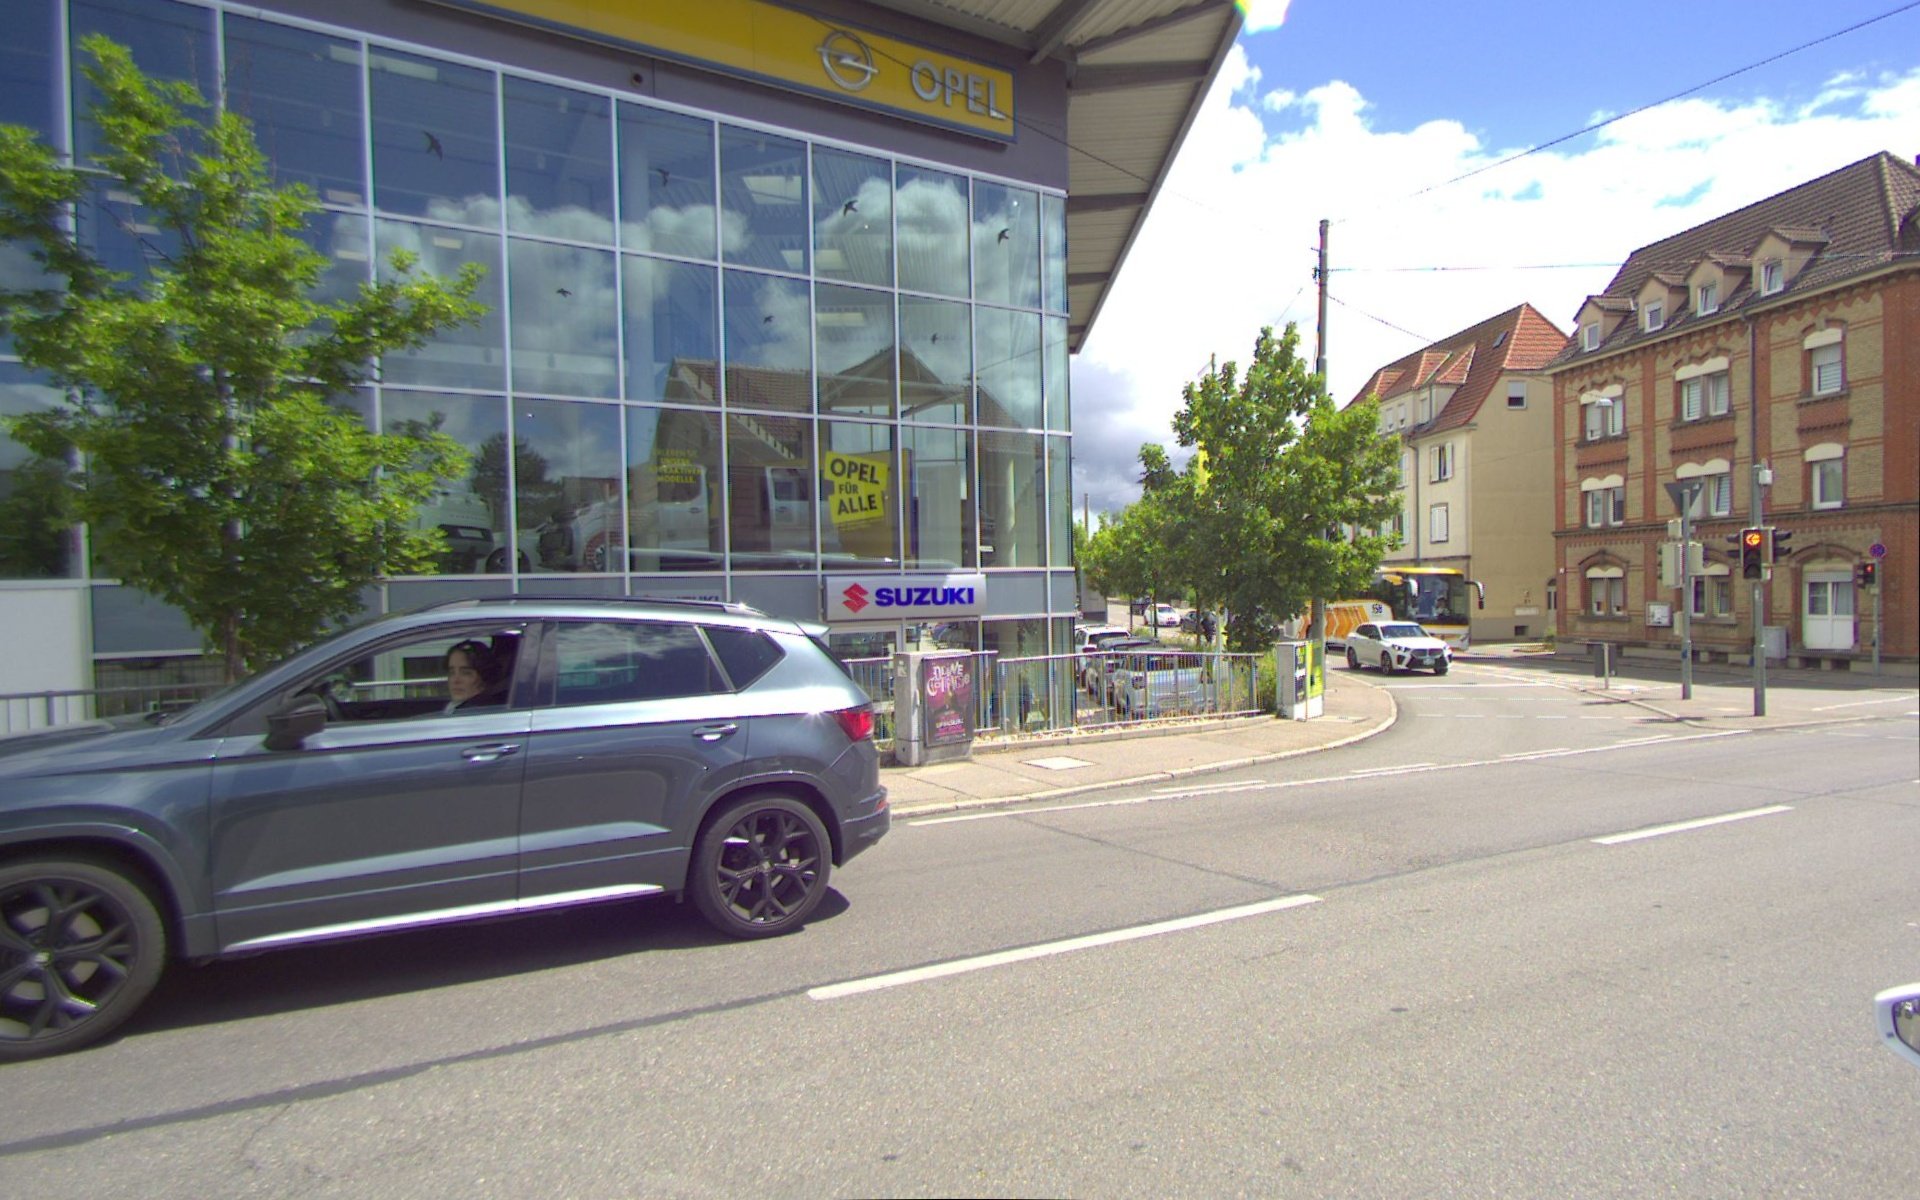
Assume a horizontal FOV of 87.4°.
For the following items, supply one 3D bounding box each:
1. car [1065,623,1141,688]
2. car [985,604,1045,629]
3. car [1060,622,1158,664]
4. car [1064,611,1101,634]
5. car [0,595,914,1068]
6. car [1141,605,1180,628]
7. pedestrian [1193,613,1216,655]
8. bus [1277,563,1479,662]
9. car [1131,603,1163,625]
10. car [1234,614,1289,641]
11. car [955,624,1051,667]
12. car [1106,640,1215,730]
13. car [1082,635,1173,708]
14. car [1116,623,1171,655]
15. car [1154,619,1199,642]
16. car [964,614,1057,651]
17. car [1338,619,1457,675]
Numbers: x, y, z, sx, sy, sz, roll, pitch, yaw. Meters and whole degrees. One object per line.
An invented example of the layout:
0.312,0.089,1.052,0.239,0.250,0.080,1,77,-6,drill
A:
4.151,1.578,29.568,1.620,1.703,3.499,-1,0,-2,car
3.690,1.109,67.990,3.922,1.574,1.807,1,-1,-1,car
5.556,1.592,37.742,3.430,1.497,1.800,1,-1,1,car
9.163,1.686,75.437,1.823,1.617,3.996,1,-1,-6,car
-2.344,0.794,4.805,3.913,1.542,1.749,1,-1,-32,car
14.326,1.157,72.024,1.874,1.574,3.999,1,-1,-2,car
10.397,1.454,42.697,0.744,1.757,1.145,1,-1,2,pedestrian
17.606,0.376,43.756,2.719,3.670,12.253,1,1,-5,bus
15.530,1.160,83.556,1.790,1.773,4.000,1,-1,-2,car
16.818,1.513,56.261,1.717,1.428,3.999,1,-1,-3,car
1.562,1.687,37.428,3.432,1.467,1.799,-1,0,-3,car
4.086,1.695,20.936,1.648,1.582,3.365,-1,0,1,car
4.096,1.710,25.062,1.584,1.547,3.499,-1,0,-2,car
8.968,1.875,49.306,1.766,1.467,3.498,1,-1,-5,car
13.857,1.942,64.497,1.874,1.428,3.999,1,-1,-2,car
2.249,1.454,45.153,3.925,1.574,1.806,1,-1,-7,car
13.695,1.465,31.746,1.797,1.572,4.307,-2,-2,0,car
